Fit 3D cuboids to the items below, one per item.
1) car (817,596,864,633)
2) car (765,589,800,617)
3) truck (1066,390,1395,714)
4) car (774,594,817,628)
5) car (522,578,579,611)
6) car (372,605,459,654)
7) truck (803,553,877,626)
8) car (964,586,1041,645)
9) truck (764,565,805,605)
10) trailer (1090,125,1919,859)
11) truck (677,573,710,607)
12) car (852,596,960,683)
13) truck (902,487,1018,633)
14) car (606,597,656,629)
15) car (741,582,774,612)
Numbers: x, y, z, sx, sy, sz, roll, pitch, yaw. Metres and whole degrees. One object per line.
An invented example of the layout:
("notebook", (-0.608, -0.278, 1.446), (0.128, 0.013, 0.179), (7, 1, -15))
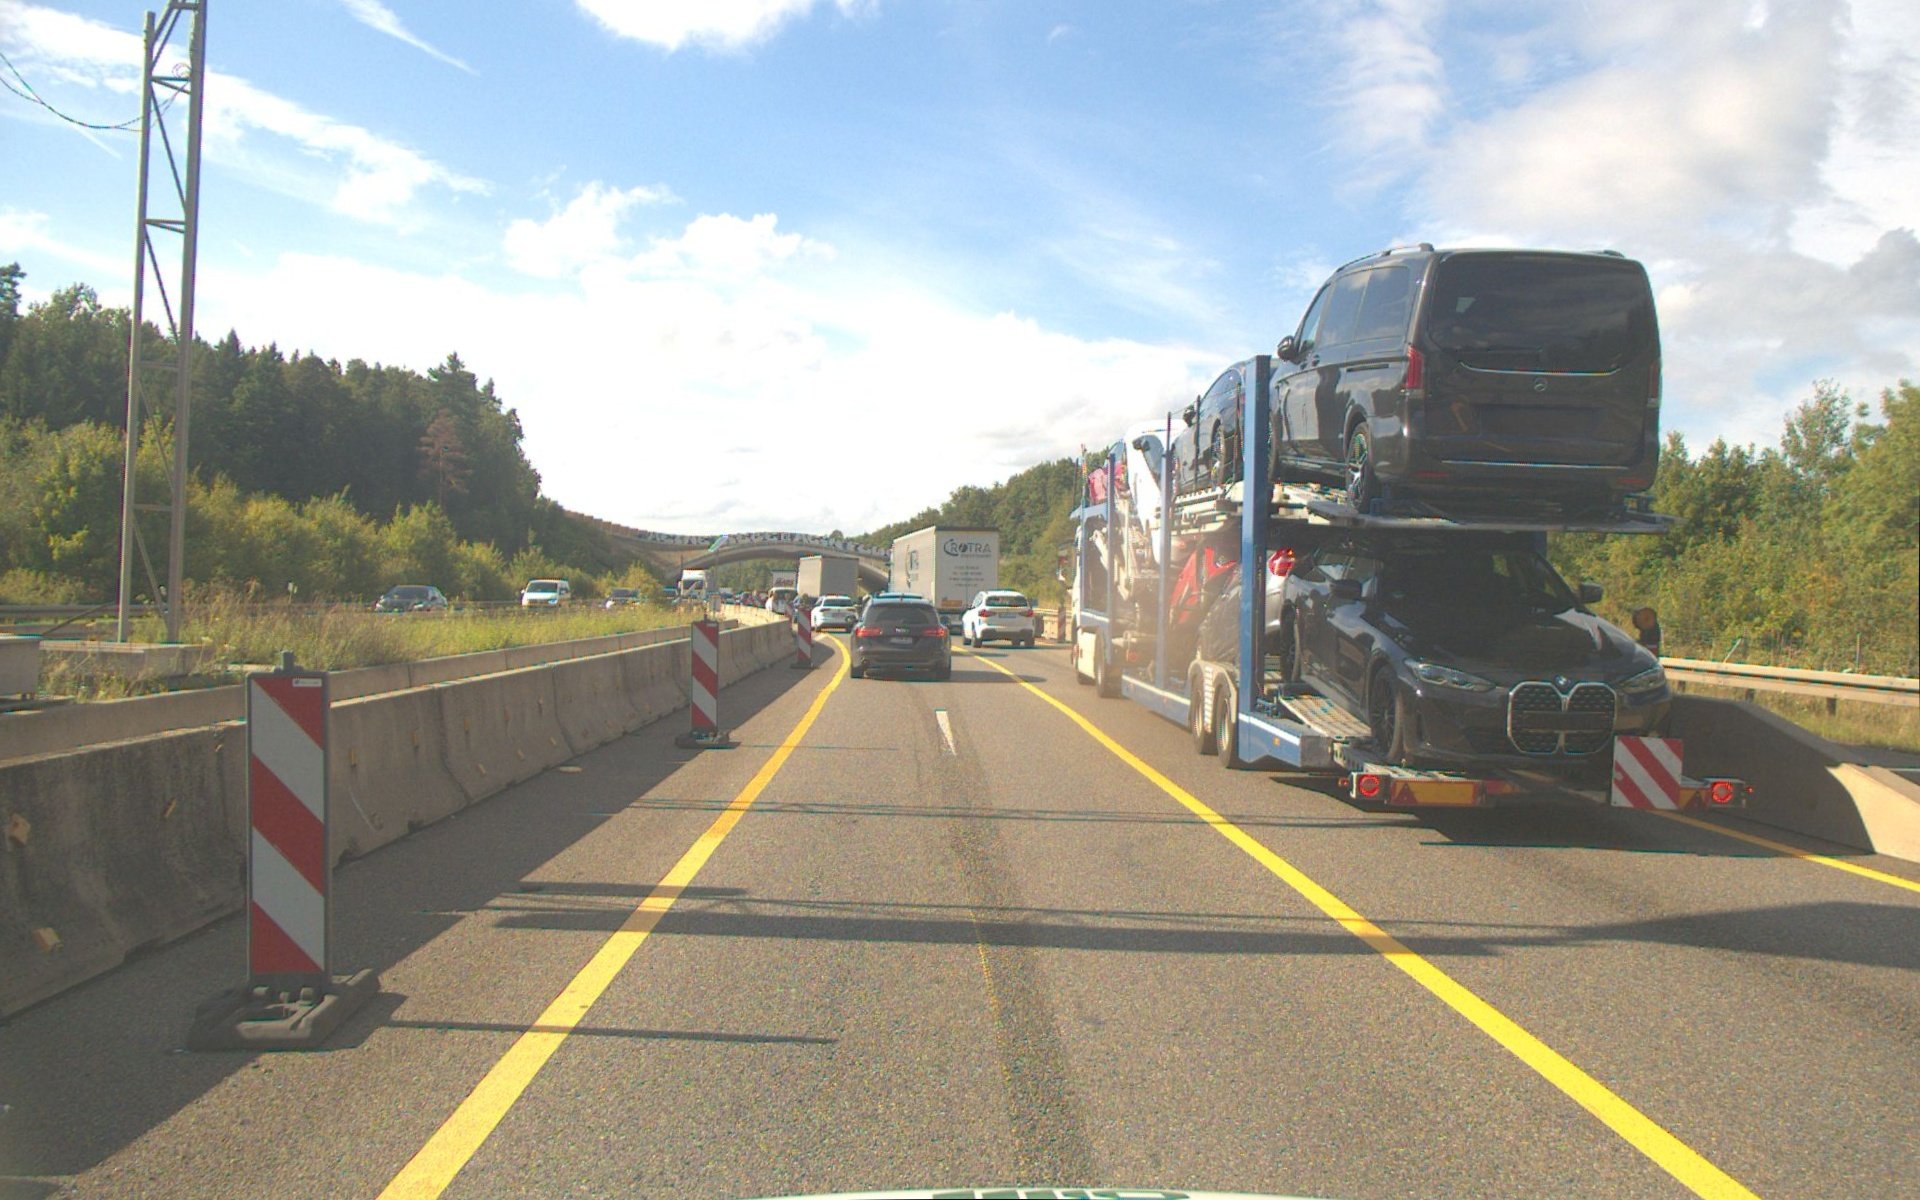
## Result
("car", (-4.909, 0.571, 67.559), (1.853, 1.472, 3.996), (1, 0, -5))
("car", (-10.823, 0.166, 100.674), (1.855, 1.672, 4.009), (1, 0, -9))
("truck", (3.891, -0.645, 26.170), (3.685, 4.269, 7.948), (1, 0, -1))
("car", (-8.516, 0.536, 85.544), (1.856, 1.672, 4.008), (1, 0, -10))
("car", (-21.263, -0.272, 86.081), (1.929, 1.630, 4.945), (1, 0, -2))
("car", (-19.620, 1.025, 59.791), (1.742, 1.630, 4.674), (1, 0, -2))
("truck", (-8.385, -0.686, 113.792), (4.239, 4.681, 11.103), (1, 0, -8))
("car", (1.244, 0.451, 50.575), (1.854, 1.672, 4.013), (1, 0, -6))
("truck", (-18.401, -1.525, 172.600), (3.587, 3.997, 11.042), (1, 0, -10))
("trailer", (4.079, -0.636, 17.887), (3.651, 4.269, 16.223), (1, 0, -1))
("truck", (-27.917, -1.034, 173.412), (2.702, 3.356, 5.809), (1, 0, -3))
("car", (-1.028, 0.683, 30.711), (1.852, 1.472, 3.998), (1, 0, -3))
("truck", (-0.283, -1.525, 70.558), (3.605, 5.447, 16.186), (1, 0, -4))
("car", (-18.050, 0.696, 90.860), (1.929, 1.630, 4.945), (1, 0, -2))
("car", (-14.560, -0.234, 118.607), (1.959, 2.049, 3.988), (1, 0, -12))
